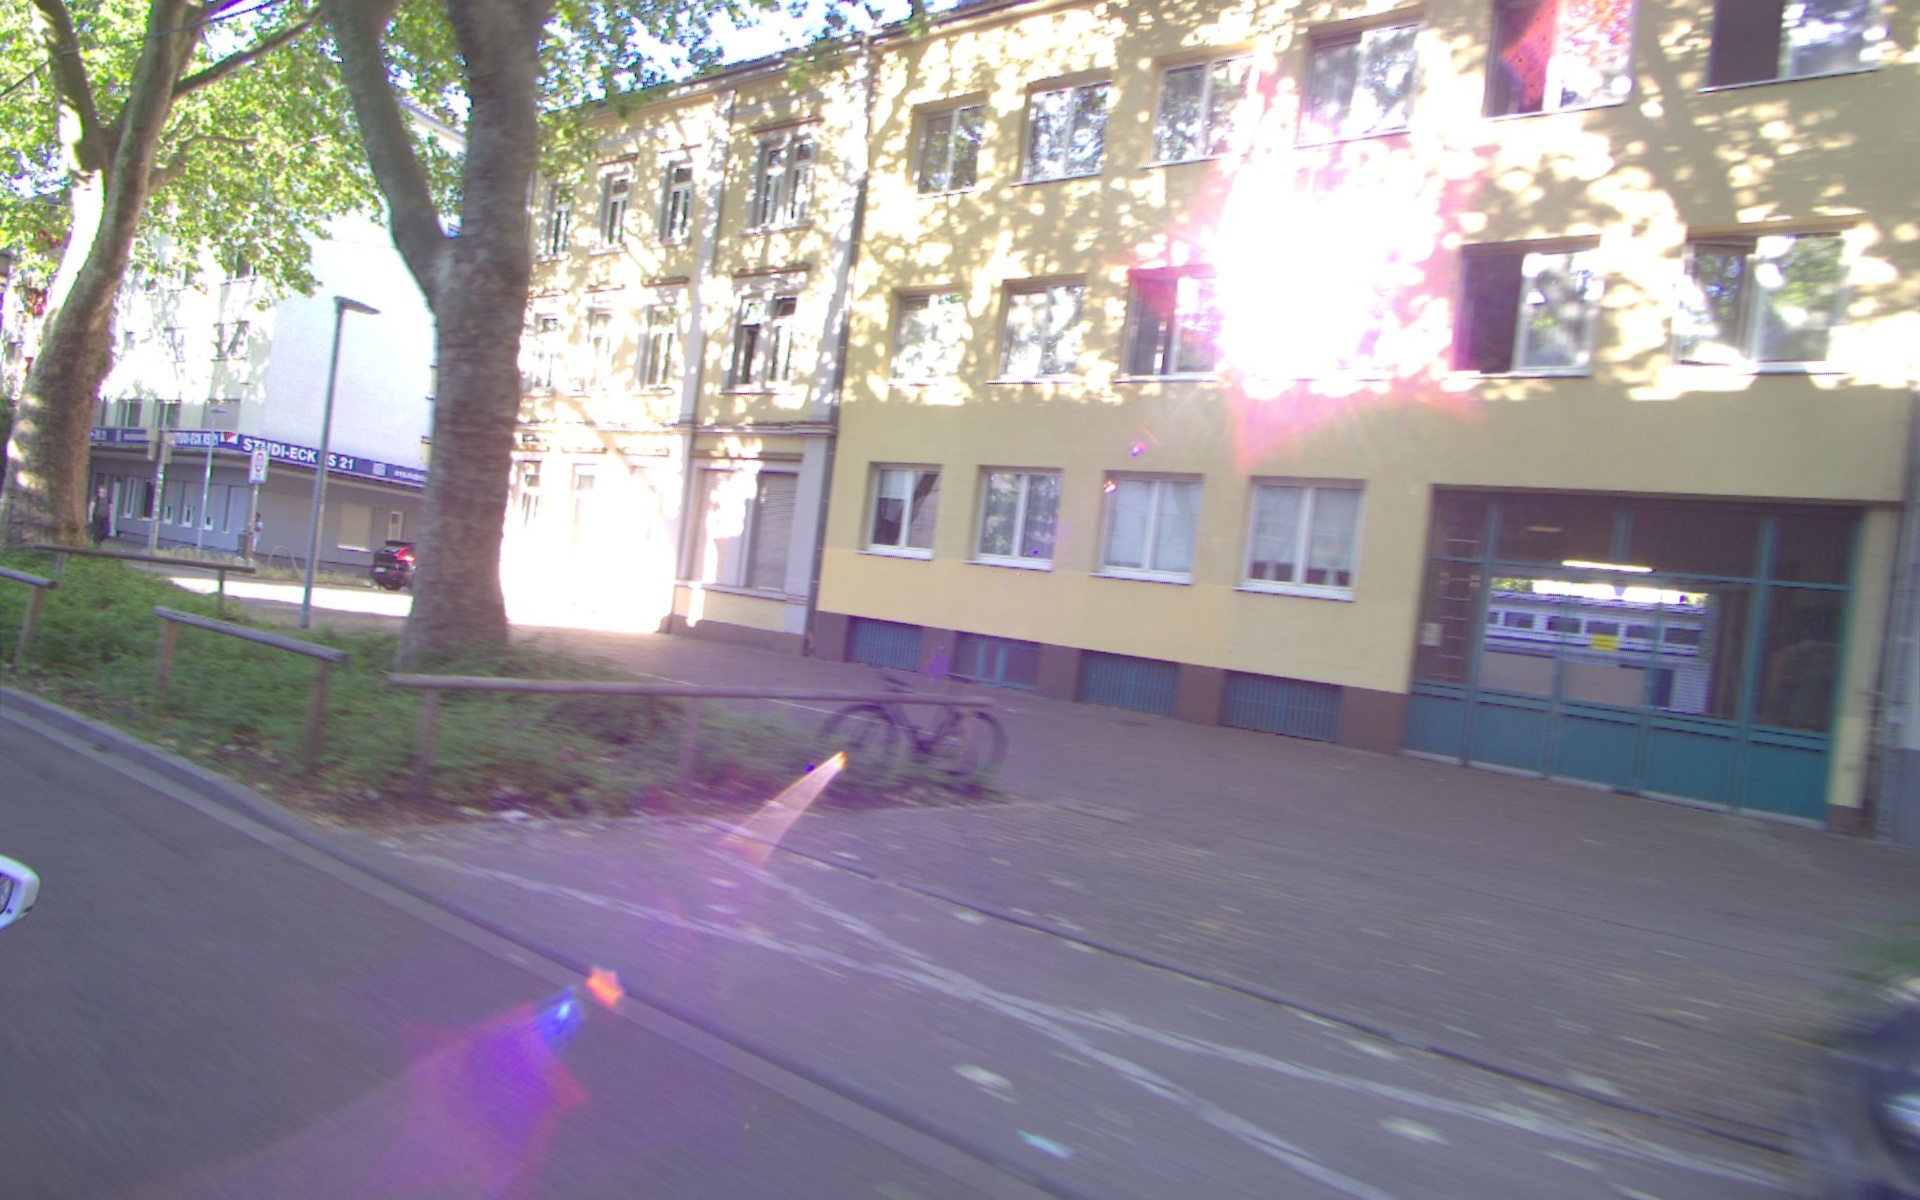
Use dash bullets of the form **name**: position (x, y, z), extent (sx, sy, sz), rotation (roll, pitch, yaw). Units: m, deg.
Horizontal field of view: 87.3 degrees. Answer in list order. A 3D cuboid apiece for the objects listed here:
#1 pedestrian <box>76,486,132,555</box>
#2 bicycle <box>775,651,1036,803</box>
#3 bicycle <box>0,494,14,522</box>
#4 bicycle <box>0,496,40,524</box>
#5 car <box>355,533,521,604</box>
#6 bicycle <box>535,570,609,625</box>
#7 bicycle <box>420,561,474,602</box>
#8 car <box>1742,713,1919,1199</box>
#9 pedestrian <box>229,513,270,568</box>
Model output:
- **pedestrian**: position (-25.620, -2.370, 30.107), extent (1.168, 1.890, 0.768), rotation (7, 1, 28)
- **bicycle**: position (-0.384, 0.970, 7.784), extent (1.948, 1.019, 0.506), rotation (5, 2, -33)
- **bicycle**: position (-42.279, -4.088, 43.467), extent (0.562, 1.171, 1.948), rotation (7, 1, 25)
- **bicycle**: position (-41.750, -3.975, 44.210), extent (0.607, 1.055, 1.794), rotation (7, 1, 28)
- **car**: position (-16.293, -0.929, 31.599), extent (1.965, 1.612, 4.141), rotation (7, -1, 28)
- **bicycle**: position (-9.443, -0.061, 24.478), extent (1.891, 1.118, 0.583), rotation (7, 2, 32)
- **bicycle**: position (-14.635, -0.516, 28.751), extent (0.559, 1.019, 1.835), rotation (7, -2, -3)
- **car**: position (3.417, 1.209, 1.863), extent (2.864, 1.538, 1.564), rotation (6, 0, 34)
- **pedestrian**: position (-23.374, -1.958, 33.099), extent (0.655, 1.664, 0.747), rotation (7, 0, 33)
